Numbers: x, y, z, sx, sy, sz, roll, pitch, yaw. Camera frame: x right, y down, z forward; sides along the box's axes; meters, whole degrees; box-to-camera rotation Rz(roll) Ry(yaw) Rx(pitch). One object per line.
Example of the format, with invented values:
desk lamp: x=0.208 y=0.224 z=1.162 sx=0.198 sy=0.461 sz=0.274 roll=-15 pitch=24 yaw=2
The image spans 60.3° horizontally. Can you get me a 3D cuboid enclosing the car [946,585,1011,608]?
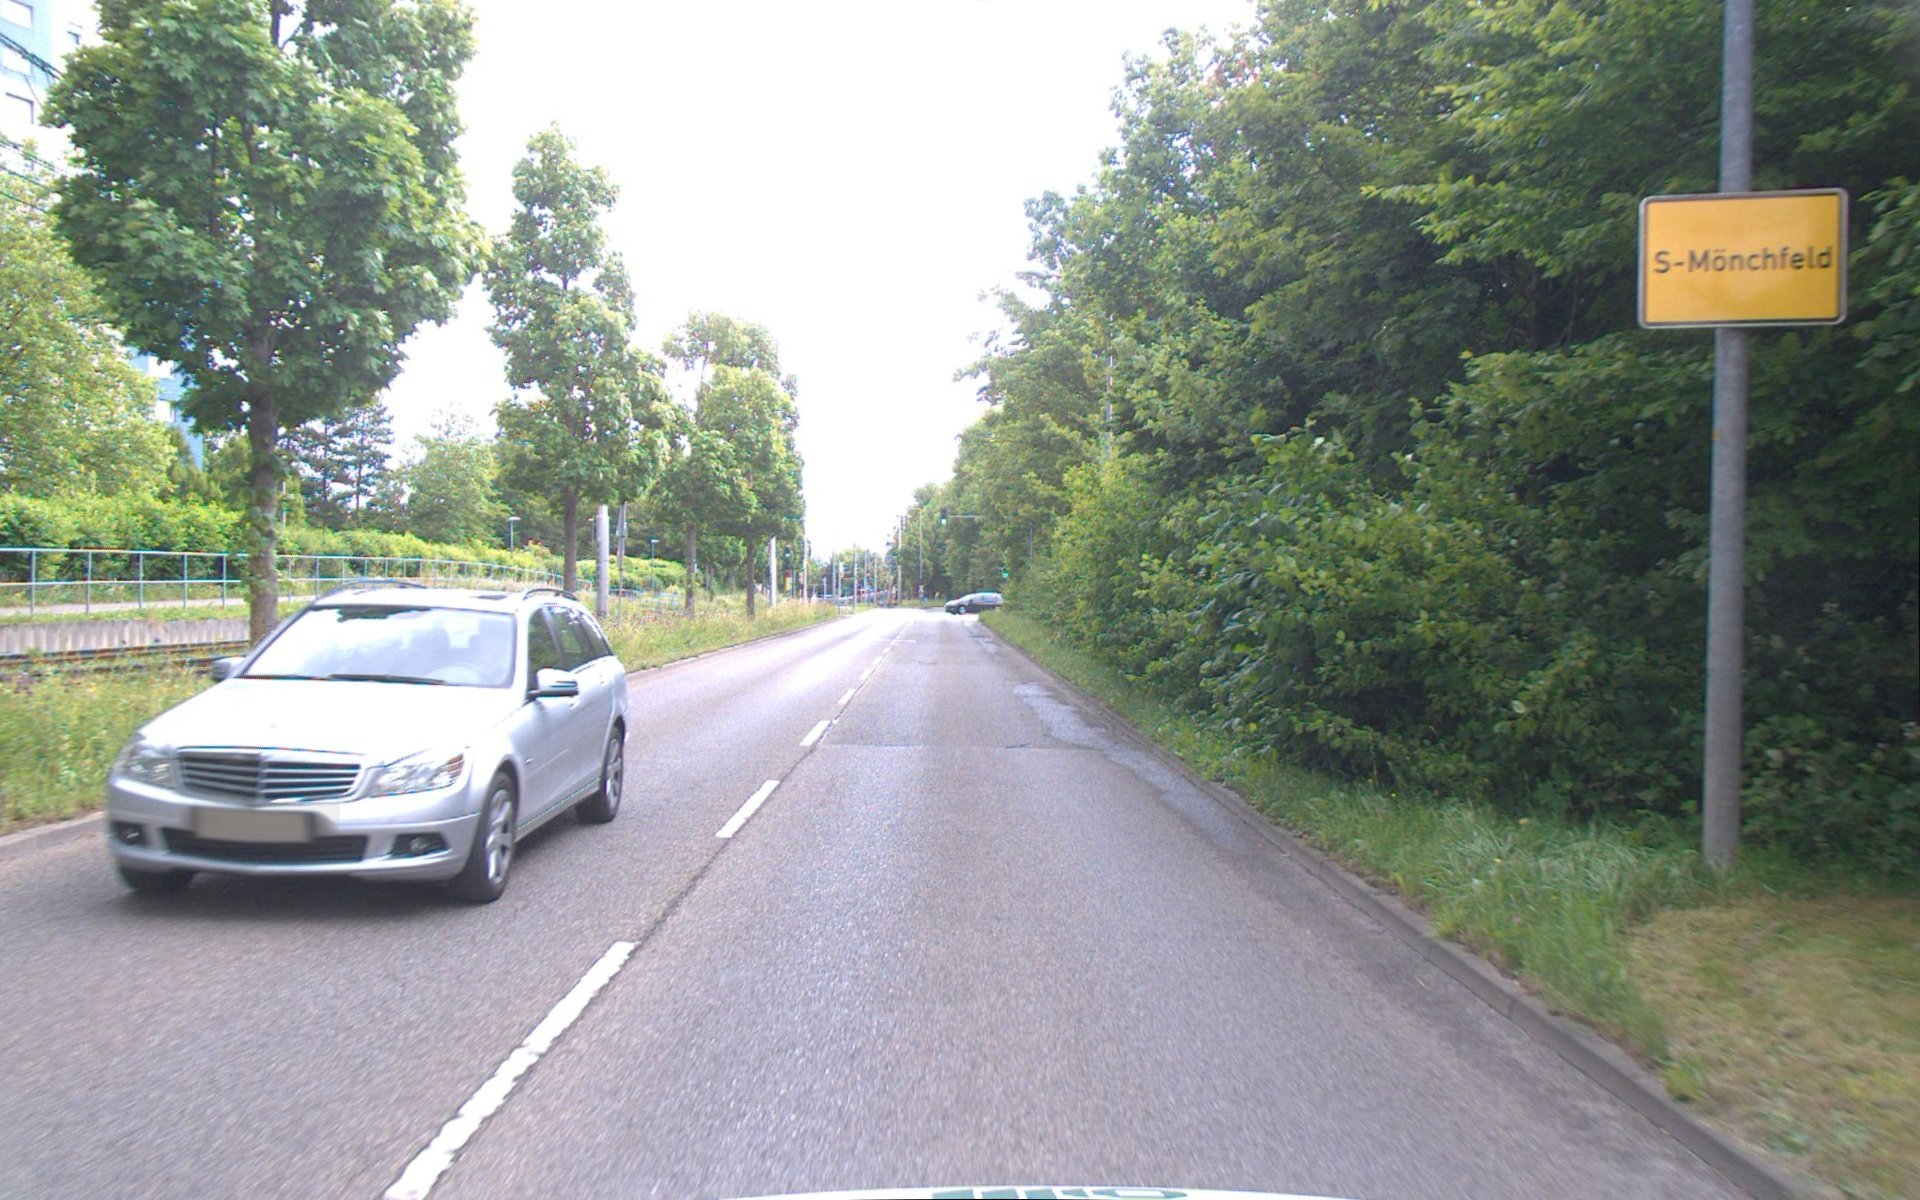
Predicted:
car: x=1.286 y=-0.250 z=115.163 sx=4.180 sy=1.496 sz=1.845 roll=1 pitch=1 yaw=-21

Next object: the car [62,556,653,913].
car: x=-2.979 y=0.550 z=9.221 sx=1.738 sy=1.494 sz=4.241 roll=1 pitch=1 yaw=0
